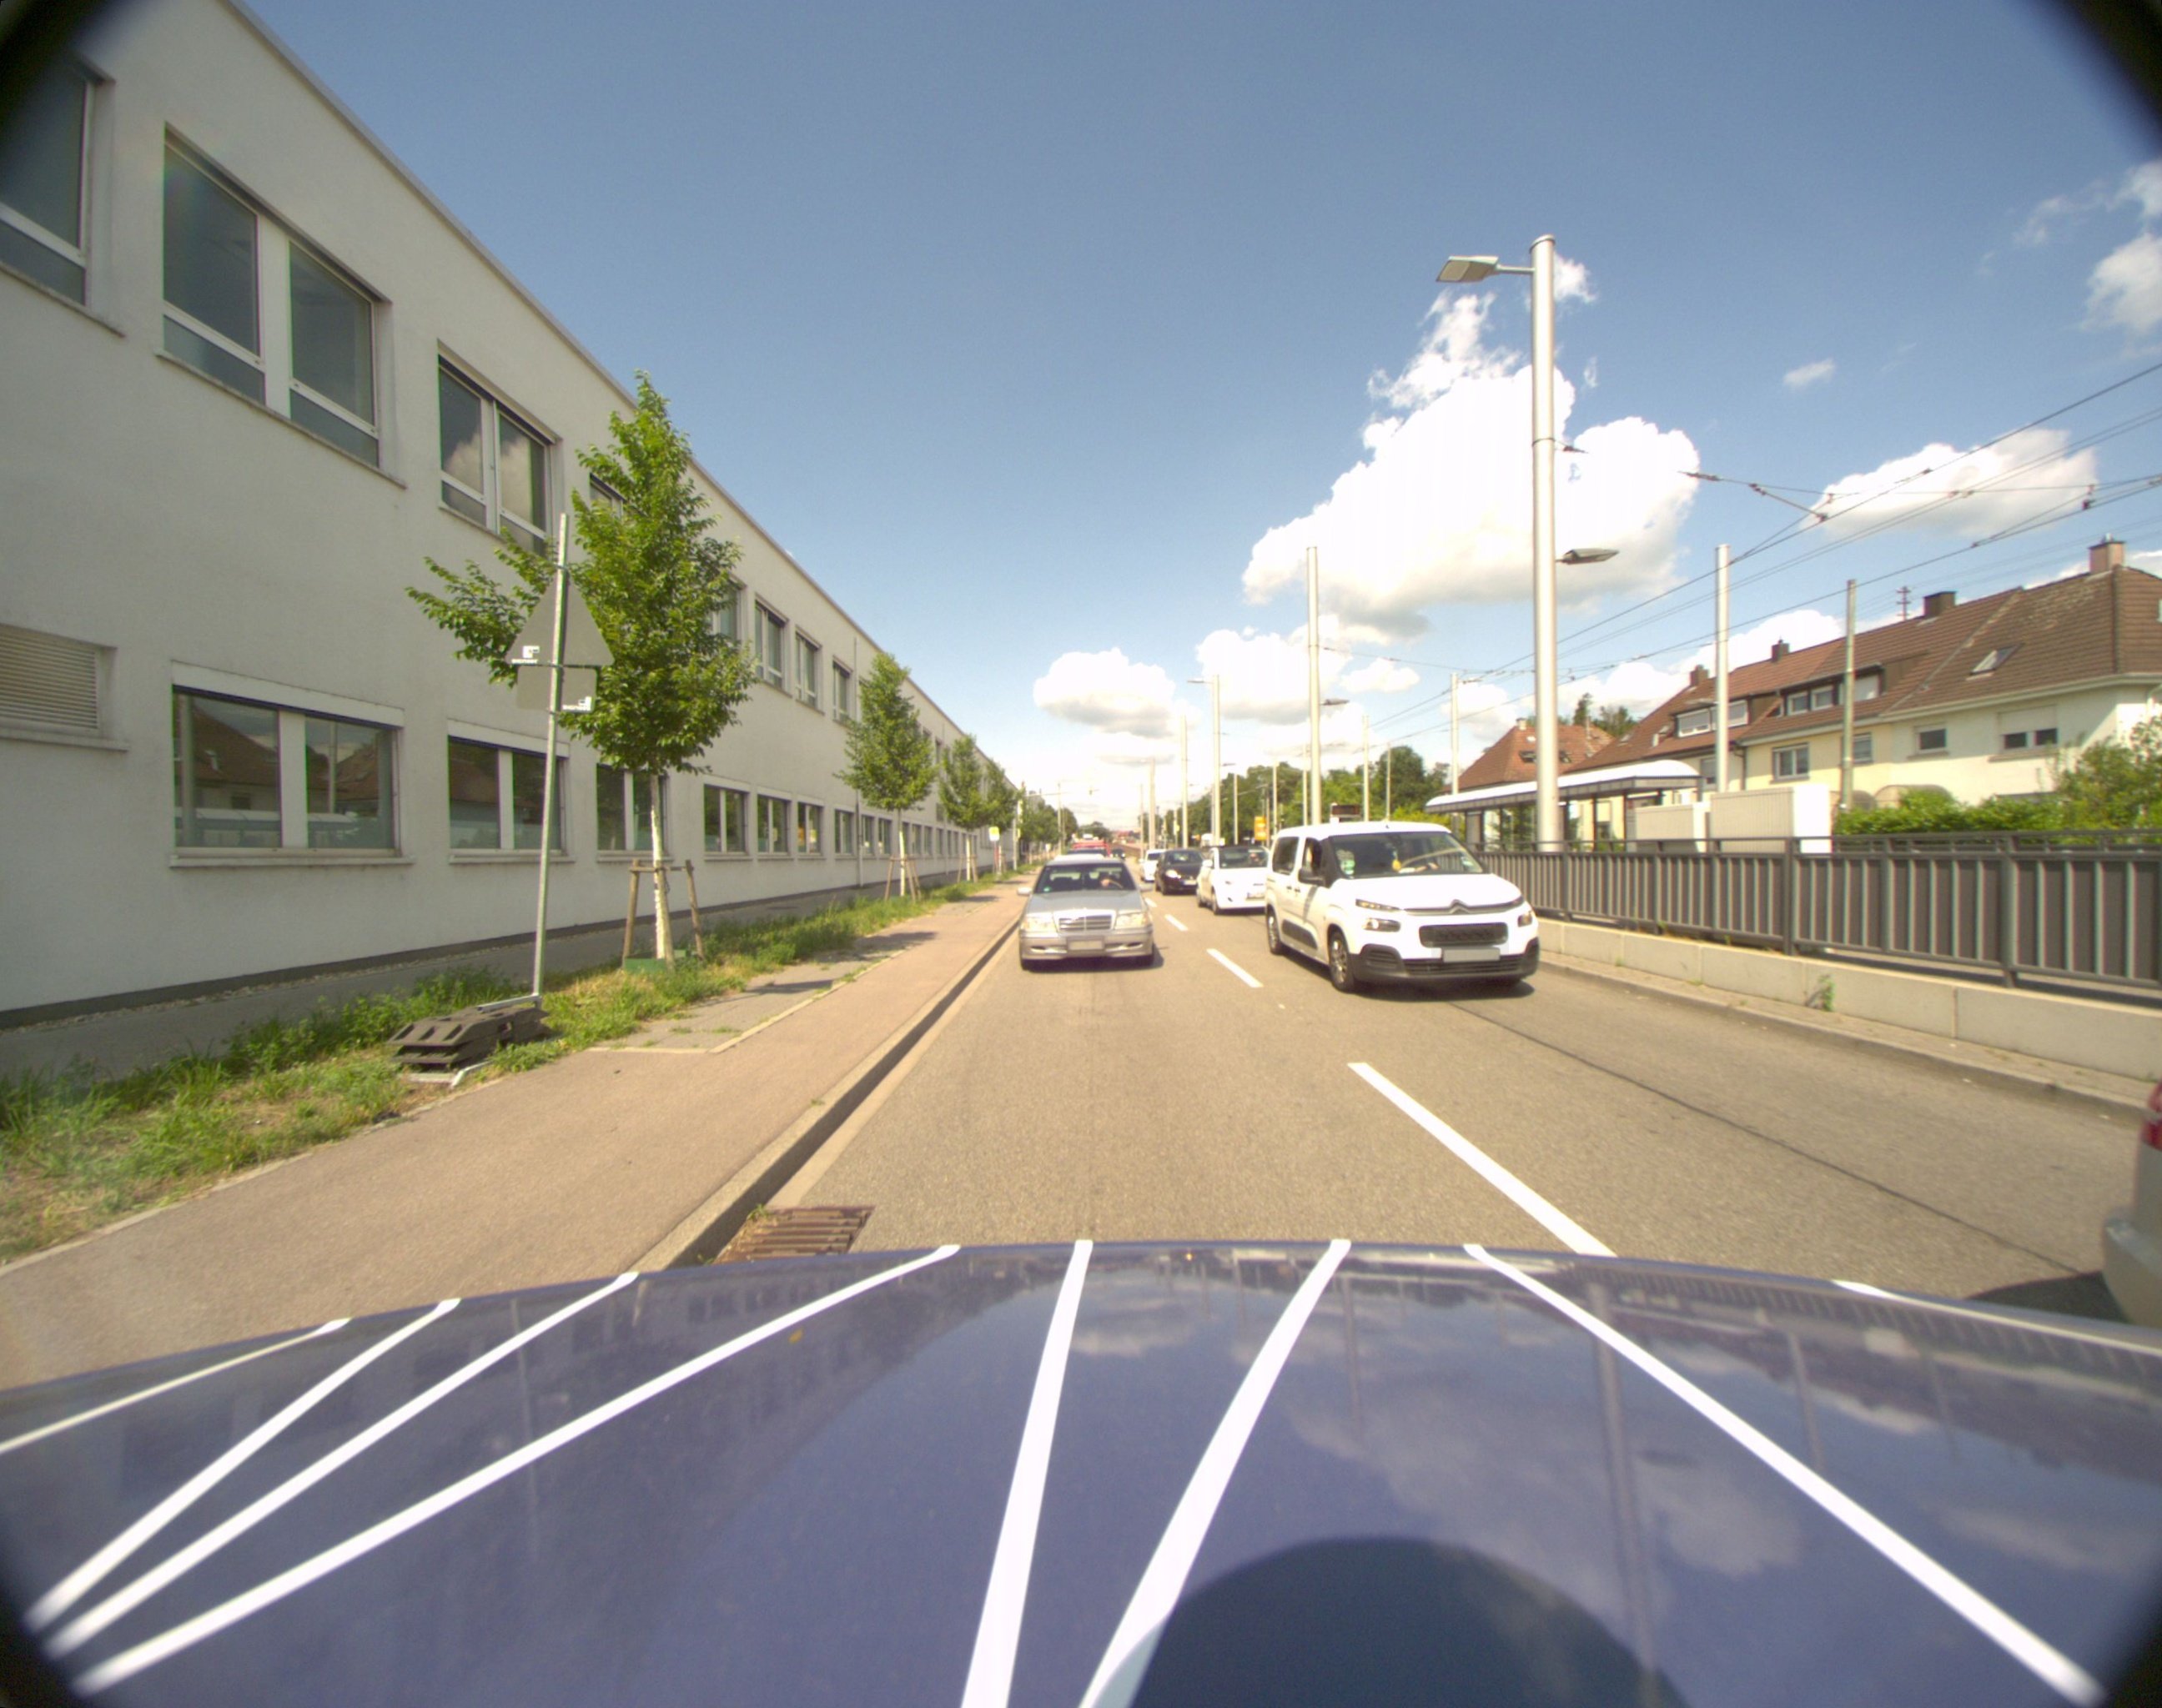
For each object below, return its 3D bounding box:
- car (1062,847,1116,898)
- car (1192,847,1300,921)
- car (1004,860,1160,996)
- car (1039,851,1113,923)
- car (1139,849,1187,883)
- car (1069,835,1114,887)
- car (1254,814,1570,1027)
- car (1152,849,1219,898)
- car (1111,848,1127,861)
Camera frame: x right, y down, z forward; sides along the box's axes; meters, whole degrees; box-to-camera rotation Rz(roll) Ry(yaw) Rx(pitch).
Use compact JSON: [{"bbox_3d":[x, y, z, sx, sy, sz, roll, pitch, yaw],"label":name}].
[{"bbox_3d":[0.290,0.584,26.165,1.664,1.530,3.999,-2,1,1],"label":"car"},{"bbox_3d":[3.709,0.610,17.620,1.680,1.495,3.393,-2,1,-1],"label":"car"},{"bbox_3d":[0.042,0.863,10.903,1.725,1.389,4.462,-2,1,1],"label":"car"},{"bbox_3d":[-0.095,0.764,19.767,1.664,1.564,3.999,-2,1,1],"label":"car"},{"bbox_3d":[3.681,0.487,34.638,1.698,1.350,4.498,-2,1,1],"label":"car"},{"bbox_3d":[0.486,0.244,34.634,1.787,2.135,5.168,-2,1,1],"label":"car"},{"bbox_3d":[3.394,0.551,8.812,1.799,1.805,4.329,-2,1,1],"label":"car"},{"bbox_3d":[3.405,0.592,25.326,1.680,1.414,3.558,-2,1,-1],"label":"car"},{"bbox_3d":[4.627,0.036,92.857,1.698,1.350,4.498,-2,1,1],"label":"car"}]
